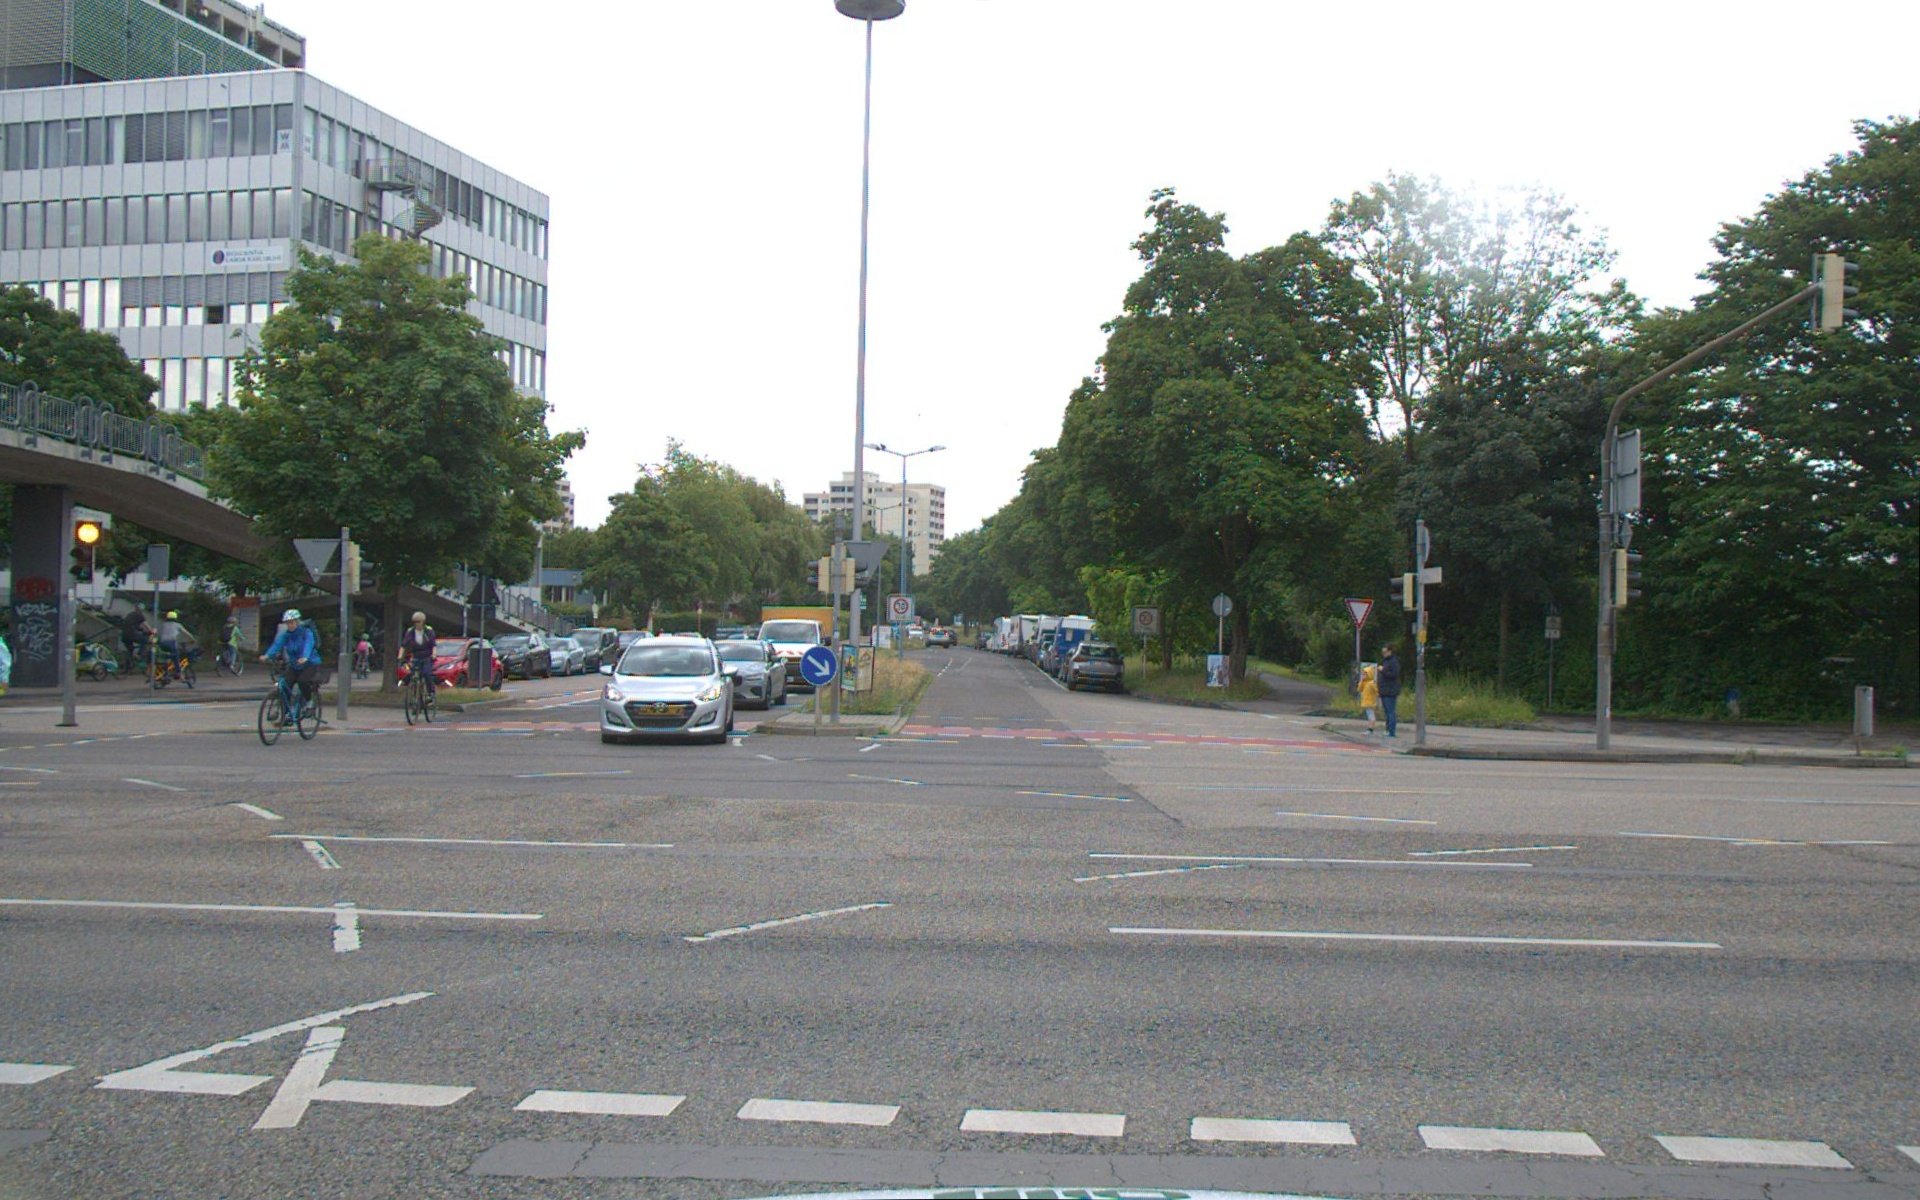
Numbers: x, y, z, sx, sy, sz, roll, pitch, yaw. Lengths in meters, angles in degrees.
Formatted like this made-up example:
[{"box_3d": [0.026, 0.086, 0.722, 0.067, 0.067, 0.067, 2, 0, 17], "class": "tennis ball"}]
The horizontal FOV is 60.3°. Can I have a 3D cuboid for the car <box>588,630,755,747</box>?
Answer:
[{"box_3d": [-4.133, 1.224, 24.319, 1.753, 1.546, 4.324, 1, -1, -1], "class": "car"}]

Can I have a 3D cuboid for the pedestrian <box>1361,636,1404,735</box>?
[{"box_3d": [7.692, 1.555, 30.135, 0.643, 1.781, 0.459, 1, -2, -2], "class": "pedestrian"}]

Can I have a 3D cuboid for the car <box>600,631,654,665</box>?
[{"box_3d": [-15.260, 2.179, 75.934, 1.641, 1.514, 4.000, 1, -1, 1], "class": "car"}]

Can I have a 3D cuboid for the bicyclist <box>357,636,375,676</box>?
[{"box_3d": [-17.953, 1.679, 50.001, 0.396, 1.202, 0.377, 1, -1, 0], "class": "bicyclist"}]

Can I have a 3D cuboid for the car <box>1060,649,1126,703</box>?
[{"box_3d": [4.359, 2.464, 54.620, 1.748, 1.691, 3.998, 1, -2, -2], "class": "car"}]

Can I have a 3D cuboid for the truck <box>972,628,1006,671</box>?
[{"box_3d": [2.125, 3.737, 123.566, 1.954, 3.062, 5.765, 1, -2, -5], "class": "truck"}]

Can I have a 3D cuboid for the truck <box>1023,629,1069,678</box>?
[{"box_3d": [5.196, 3.278, 100.795, 1.955, 2.888, 5.724, 1, -2, -5], "class": "truck"}]

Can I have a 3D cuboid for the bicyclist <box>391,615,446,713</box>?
[{"box_3d": [-9.113, 1.079, 27.846, 0.665, 1.622, 0.694, 1, -3, -2], "class": "bicyclist"}]

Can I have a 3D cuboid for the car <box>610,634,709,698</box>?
[{"box_3d": [-7.461, 1.631, 41.423, 1.734, 1.504, 4.388, 1, -2, -1], "class": "car"}]

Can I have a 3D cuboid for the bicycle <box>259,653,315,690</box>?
[{"box_3d": [-18.173, 1.917, 44.690, 0.747, 0.966, 1.952, 1, -2, -2], "class": "bicycle"}]

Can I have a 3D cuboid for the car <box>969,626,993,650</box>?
[{"box_3d": [1.754, 3.176, 139.571, 1.619, 1.952, 3.914, 1, -1, -5], "class": "car"}]

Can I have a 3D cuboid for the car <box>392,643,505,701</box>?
[{"box_3d": [-13.225, 1.871, 42.957, 1.480, 1.415, 3.534, 0, -2, 7], "class": "car"}]

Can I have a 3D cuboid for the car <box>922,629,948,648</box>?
[{"box_3d": [-2.146, 3.311, 140.721, 1.981, 1.532, 3.995, 1, -2, -5], "class": "car"}]

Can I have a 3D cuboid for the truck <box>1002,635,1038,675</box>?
[{"box_3d": [4.061, 3.786, 112.822, 1.954, 2.618, 5.373, 1, -2, -3], "class": "truck"}]

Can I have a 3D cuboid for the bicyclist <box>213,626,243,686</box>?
[{"box_3d": [-20.599, 1.572, 46.543, 0.553, 1.673, 0.531, 1, -3, 1], "class": "bicyclist"}]

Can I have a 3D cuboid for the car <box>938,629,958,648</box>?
[{"box_3d": [-1.105, 3.612, 154.099, 1.369, 1.661, 3.478, 1, -3, -9], "class": "car"}]

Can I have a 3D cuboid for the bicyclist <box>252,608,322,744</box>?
[{"box_3d": [-9.062, 1.022, 22.293, 0.631, 1.800, 0.646, 1, -2, 0], "class": "bicyclist"}]

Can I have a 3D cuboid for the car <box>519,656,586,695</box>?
[{"box_3d": [-15.538, 2.875, 63.214, 1.637, 1.411, 3.894, 1, -2, -1], "class": "car"}]

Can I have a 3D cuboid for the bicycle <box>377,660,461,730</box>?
[{"box_3d": [-9.103, 1.582, 27.939, 0.712, 1.120, 2.263, 1, -2, -2], "class": "bicycle"}]

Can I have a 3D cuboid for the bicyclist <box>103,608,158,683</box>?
[{"box_3d": [-21.761, 1.180, 43.407, 0.838, 1.926, 1.127, 1, -1, 0], "class": "bicyclist"}]

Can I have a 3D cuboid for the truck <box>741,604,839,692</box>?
[{"box_3d": [-4.592, 1.320, 45.468, 2.111, 2.238, 5.838, 1, -2, -1], "class": "truck"}]

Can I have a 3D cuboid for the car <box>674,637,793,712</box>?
[{"box_3d": [-4.741, 1.542, 35.278, 1.858, 1.445, 4.735, 1, -1, 0], "class": "car"}]

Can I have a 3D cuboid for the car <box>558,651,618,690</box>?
[{"box_3d": [-15.373, 2.899, 68.550, 1.637, 1.579, 3.760, 1, -2, -1], "class": "car"}]

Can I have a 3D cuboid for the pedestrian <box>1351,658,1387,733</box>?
[{"box_3d": [7.598, 1.769, 30.713, 0.516, 1.365, 0.524, 1, -2, -2], "class": "pedestrian"}]

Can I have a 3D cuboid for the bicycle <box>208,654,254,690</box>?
[{"box_3d": [-20.529, 2.021, 46.588, 0.515, 0.966, 1.709, 1, -2, 0], "class": "bicycle"}]

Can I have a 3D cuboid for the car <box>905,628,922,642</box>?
[{"box_3d": [-5.389, 4.115, 192.680, 1.979, 1.532, 3.998, 1, -2, -2], "class": "car"}]

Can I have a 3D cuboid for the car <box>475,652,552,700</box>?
[{"box_3d": [-15.541, 2.623, 57.724, 1.637, 1.579, 3.890, 1, -2, -1], "class": "car"}]

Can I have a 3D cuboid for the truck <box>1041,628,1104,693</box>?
[{"box_3d": [4.795, 2.637, 71.437, 2.130, 2.703, 6.243, 0, -2, -2], "class": "truck"}]

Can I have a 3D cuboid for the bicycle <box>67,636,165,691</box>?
[{"box_3d": [-21.860, 1.620, 42.922, 0.838, 1.338, 3.229, 1, -1, 1], "class": "bicycle"}]

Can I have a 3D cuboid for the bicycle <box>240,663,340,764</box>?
[{"box_3d": [-9.087, 1.510, 22.514, 0.532, 1.290, 2.110, 1, -2, -2], "class": "bicycle"}]

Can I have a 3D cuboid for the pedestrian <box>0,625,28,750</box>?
[{"box_3d": [-12.820, 1.144, 21.881, 0.674, 1.633, 0.487, 1, -2, -6], "class": "pedestrian"}]
